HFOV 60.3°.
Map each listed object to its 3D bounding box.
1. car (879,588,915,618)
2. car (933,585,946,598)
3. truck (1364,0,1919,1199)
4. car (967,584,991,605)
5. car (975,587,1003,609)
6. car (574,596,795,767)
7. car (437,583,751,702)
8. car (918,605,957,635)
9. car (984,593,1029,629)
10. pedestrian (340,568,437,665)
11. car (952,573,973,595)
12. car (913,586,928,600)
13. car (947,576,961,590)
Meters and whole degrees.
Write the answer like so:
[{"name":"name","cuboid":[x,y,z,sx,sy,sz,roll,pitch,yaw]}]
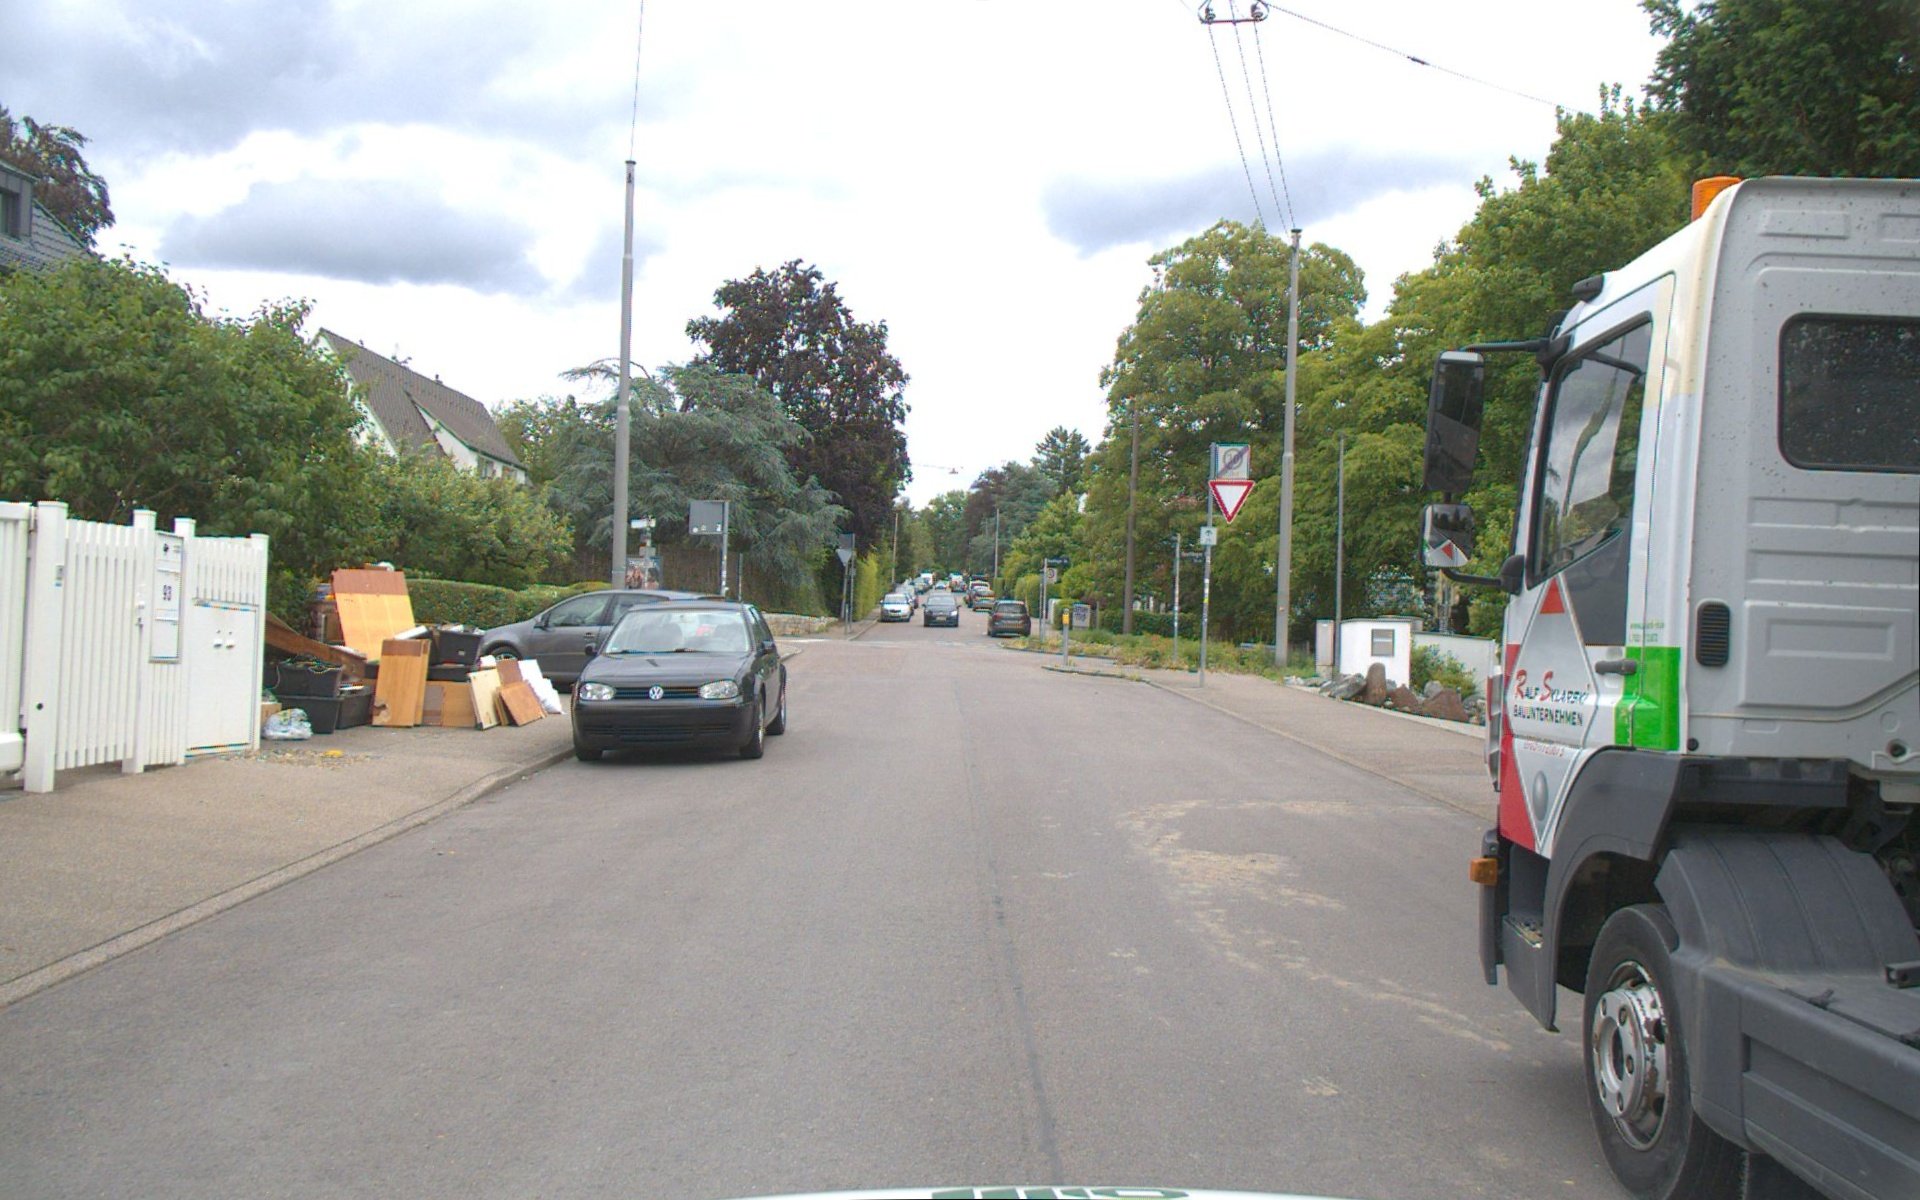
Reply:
[{"name":"car","cuboid":[-3.491,0.164,92.533,1.676,1.613,4.001,2,0,2]},{"name":"car","cuboid":[-3.251,-1.371,260.303,1.953,1.914,3.999,3,0,-1]},{"name":"truck","cuboid":[2.951,-0.860,3.075,2.473,4.831,7.187,2,0,0]},{"name":"car","cuboid":[1.428,-0.411,125.078,1.753,1.556,3.734,2,0,1]},{"name":"car","cuboid":[2.008,-0.142,116.226,1.774,1.359,3.631,3,1,-2]},{"name":"car","cuboid":[-2.554,0.687,16.150,1.604,1.419,3.987,-1,0,-2]},{"name":"car","cuboid":[-5.135,0.552,23.374,3.903,1.469,1.828,2,1,16]},{"name":"car","cuboid":[-1.112,1.016,84.675,1.692,1.432,3.805,1,0,3]},{"name":"car","cuboid":[2.021,0.461,72.637,1.743,1.515,3.999,1,0,-2]},{"name":"pedestrian","cuboid":[-7.570,0.222,21.920,0.941,1.246,0.823,2,-1,-43]},{"name":"car","cuboid":[0.231,-1.304,137.020,1.601,1.731,3.493,2,1,-1]},{"name":"car","cuboid":[-4.328,-0.731,180.945,1.594,1.410,3.597,3,0,-1]},{"name":"car","cuboid":[-0.734,-2.123,206.007,1.601,1.731,3.493,2,1,-1]}]
